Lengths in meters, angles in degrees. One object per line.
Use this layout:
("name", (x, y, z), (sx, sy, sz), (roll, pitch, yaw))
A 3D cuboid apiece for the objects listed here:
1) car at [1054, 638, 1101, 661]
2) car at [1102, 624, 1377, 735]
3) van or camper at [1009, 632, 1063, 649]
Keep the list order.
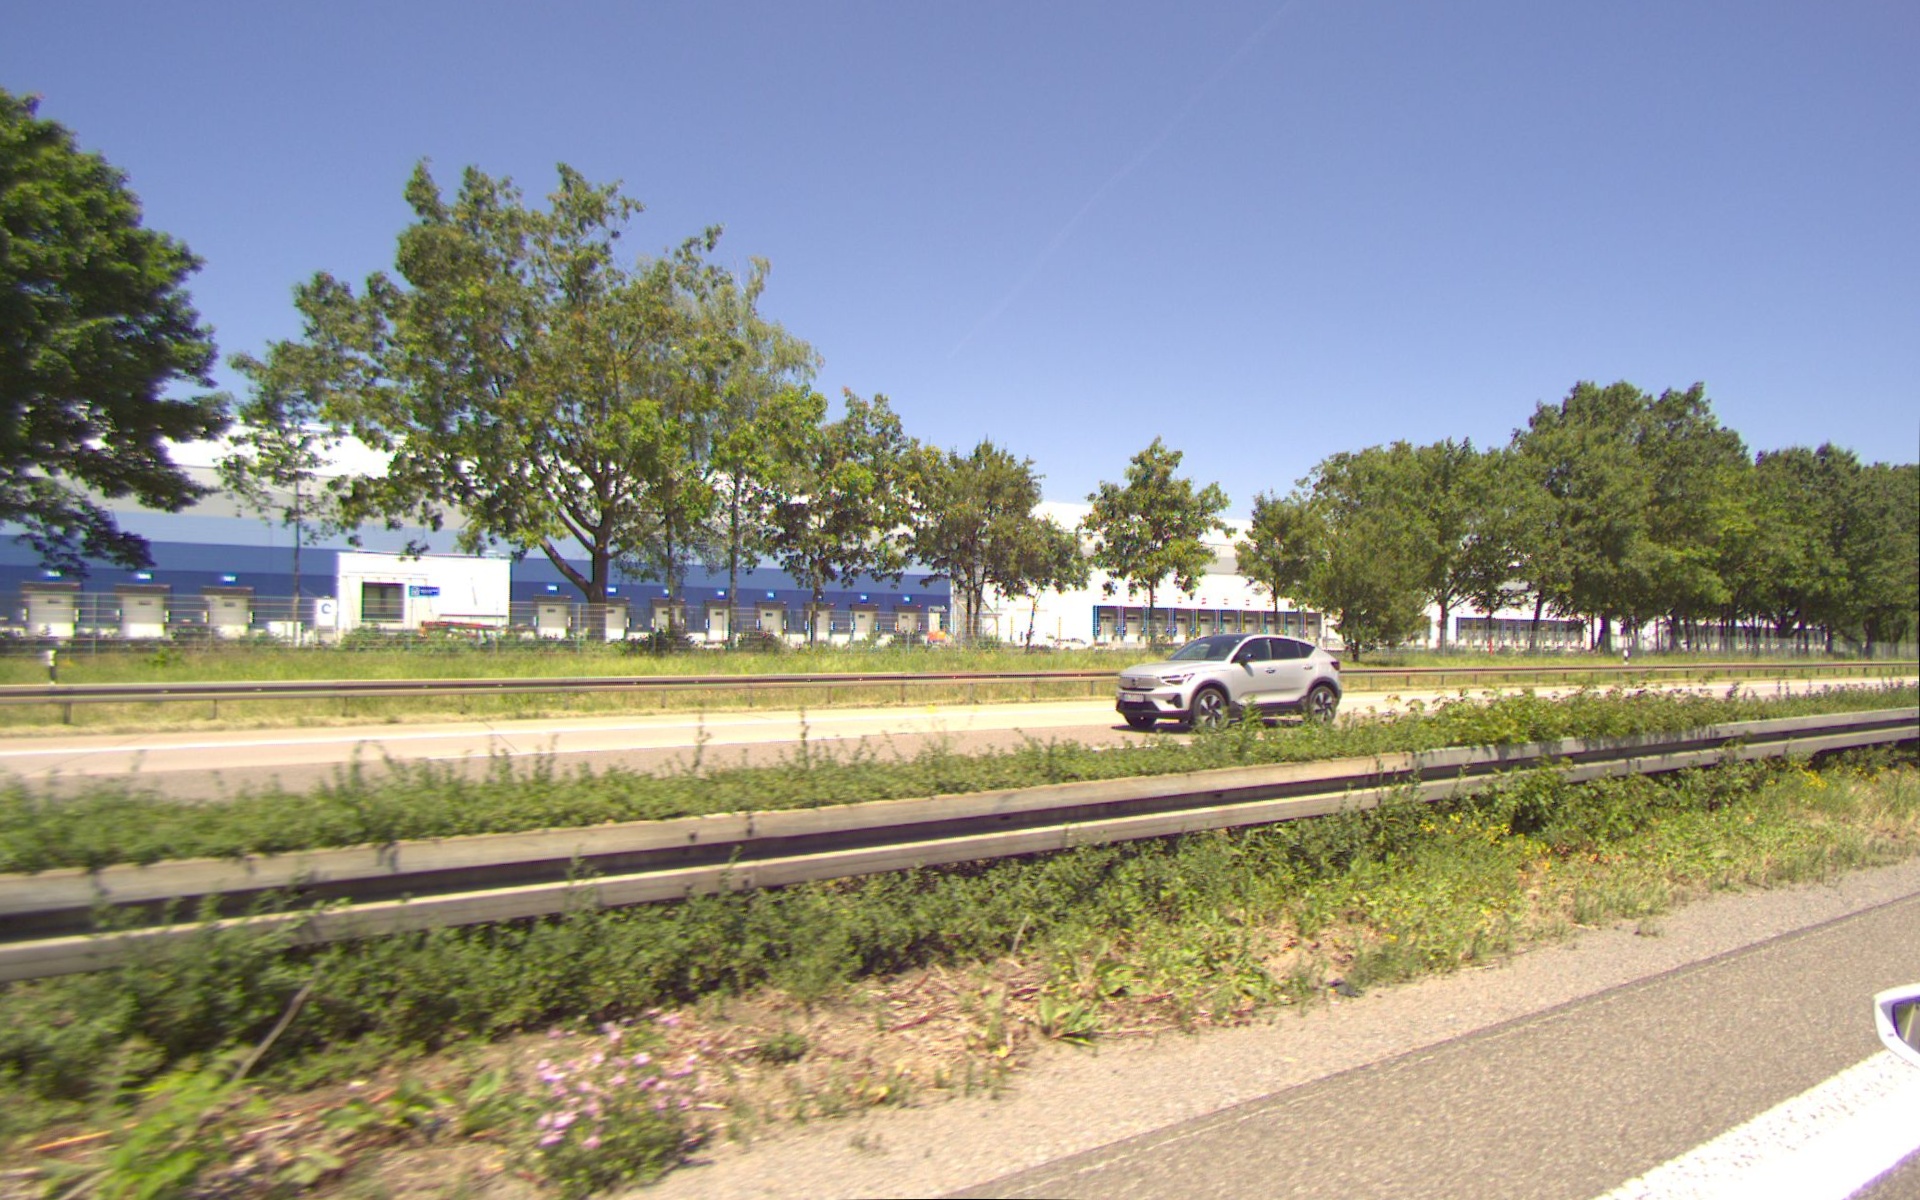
("car", (10.787, 4.577, 92.352), (3.954, 2.040, 1.984), (2, -2, -31))
("car", (4.905, 1.321, 17.467), (4.758, 1.704, 1.837), (2, -3, -31))
("van or camper", (7.286, 3.889, 96.352), (4.961, 1.674, 1.984), (2, -2, -30))
